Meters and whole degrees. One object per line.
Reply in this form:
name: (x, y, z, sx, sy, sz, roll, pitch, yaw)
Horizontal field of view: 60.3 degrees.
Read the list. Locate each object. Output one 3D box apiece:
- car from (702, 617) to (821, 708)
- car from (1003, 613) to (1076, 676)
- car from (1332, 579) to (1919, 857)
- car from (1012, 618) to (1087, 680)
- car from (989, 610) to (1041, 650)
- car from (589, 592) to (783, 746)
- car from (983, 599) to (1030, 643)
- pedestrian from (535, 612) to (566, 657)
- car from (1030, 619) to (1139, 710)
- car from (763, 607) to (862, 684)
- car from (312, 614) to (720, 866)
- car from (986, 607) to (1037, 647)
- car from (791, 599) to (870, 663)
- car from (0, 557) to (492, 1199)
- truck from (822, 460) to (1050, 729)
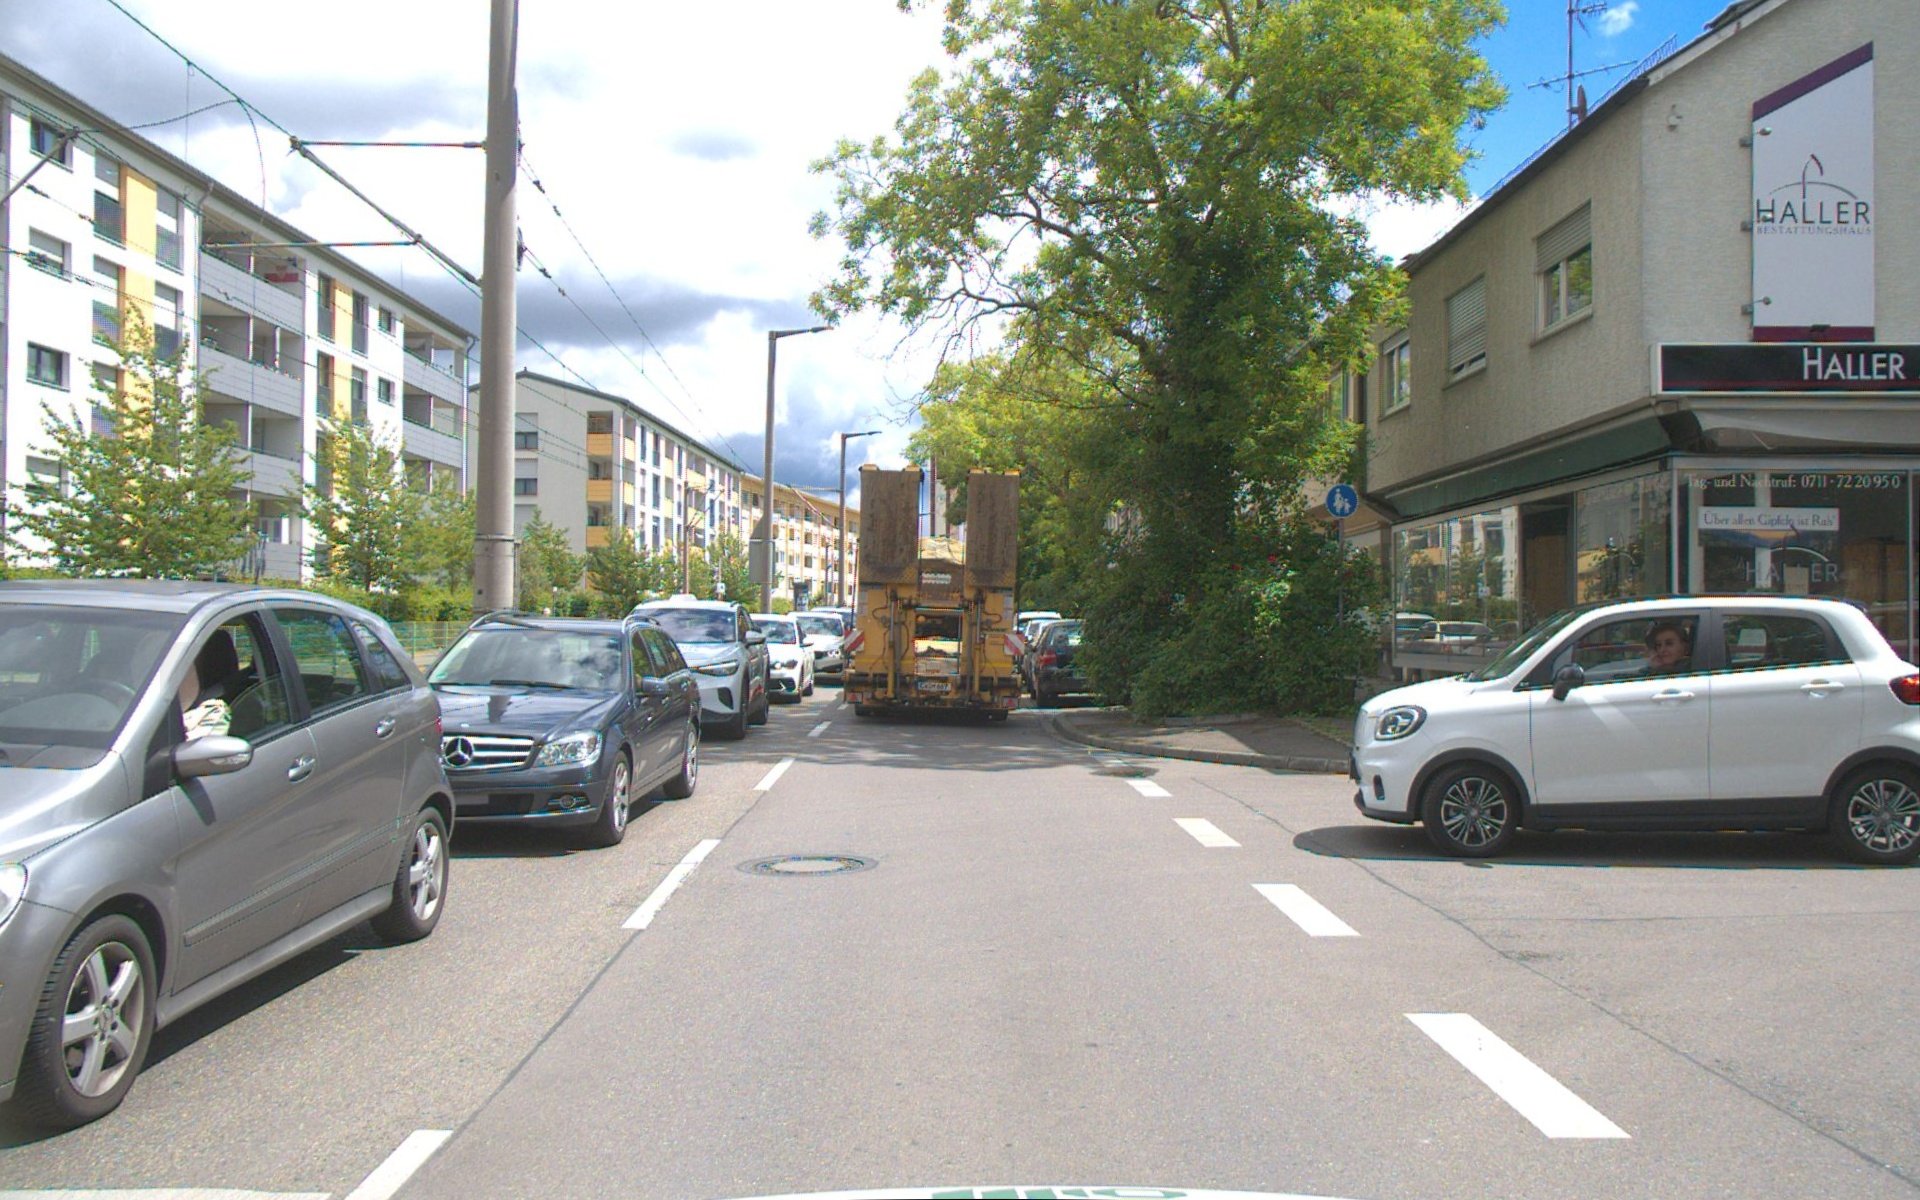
car: (-3.385, 1.041, 28.803, 1.711, 1.431, 3.938, 1, 0, -2)
car: (2.209, 1.221, 46.970, 1.800, 1.672, 4.429, 1, 0, -1)
car: (4.278, 0.722, 10.712, 3.559, 1.599, 1.843, -2, -1, 11)
car: (2.211, 1.201, 41.889, 1.689, 1.451, 4.446, 1, 0, 0)
car: (2.021, 1.062, 59.790, 1.734, 1.373, 4.002, -2, 0, 4)
car: (-3.320, 0.787, 20.842, 1.820, 1.720, 4.432, 1, 0, -2)
car: (2.027, 0.894, 71.826, 1.973, 1.820, 5.077, 0, 0, 2)
pedestrian: (-13.943, 1.159, 56.321, 0.780, 1.509, 0.995, 1, 0, -1)
car: (2.186, 1.106, 29.902, 1.776, 1.489, 4.041, 1, 0, 2)
car: (-3.178, 0.955, 36.541, 1.780, 1.529, 4.836, 2, 0, -1)
car: (-2.981, 0.857, 12.137, 1.774, 1.471, 4.465, 1, 0, 0)
car: (1.989, 1.043, 65.212, 1.735, 1.467, 3.898, -2, 0, -2)
car: (-3.548, 0.824, 45.916, 1.780, 1.642, 4.601, 2, 0, 0)
car: (-3.279, 0.736, 6.089, 1.819, 1.689, 4.176, 1, 0, 1)
truck: (-0.381, -0.045, 28.882, 3.060, 3.627, 12.457, 1, 0, -1)
